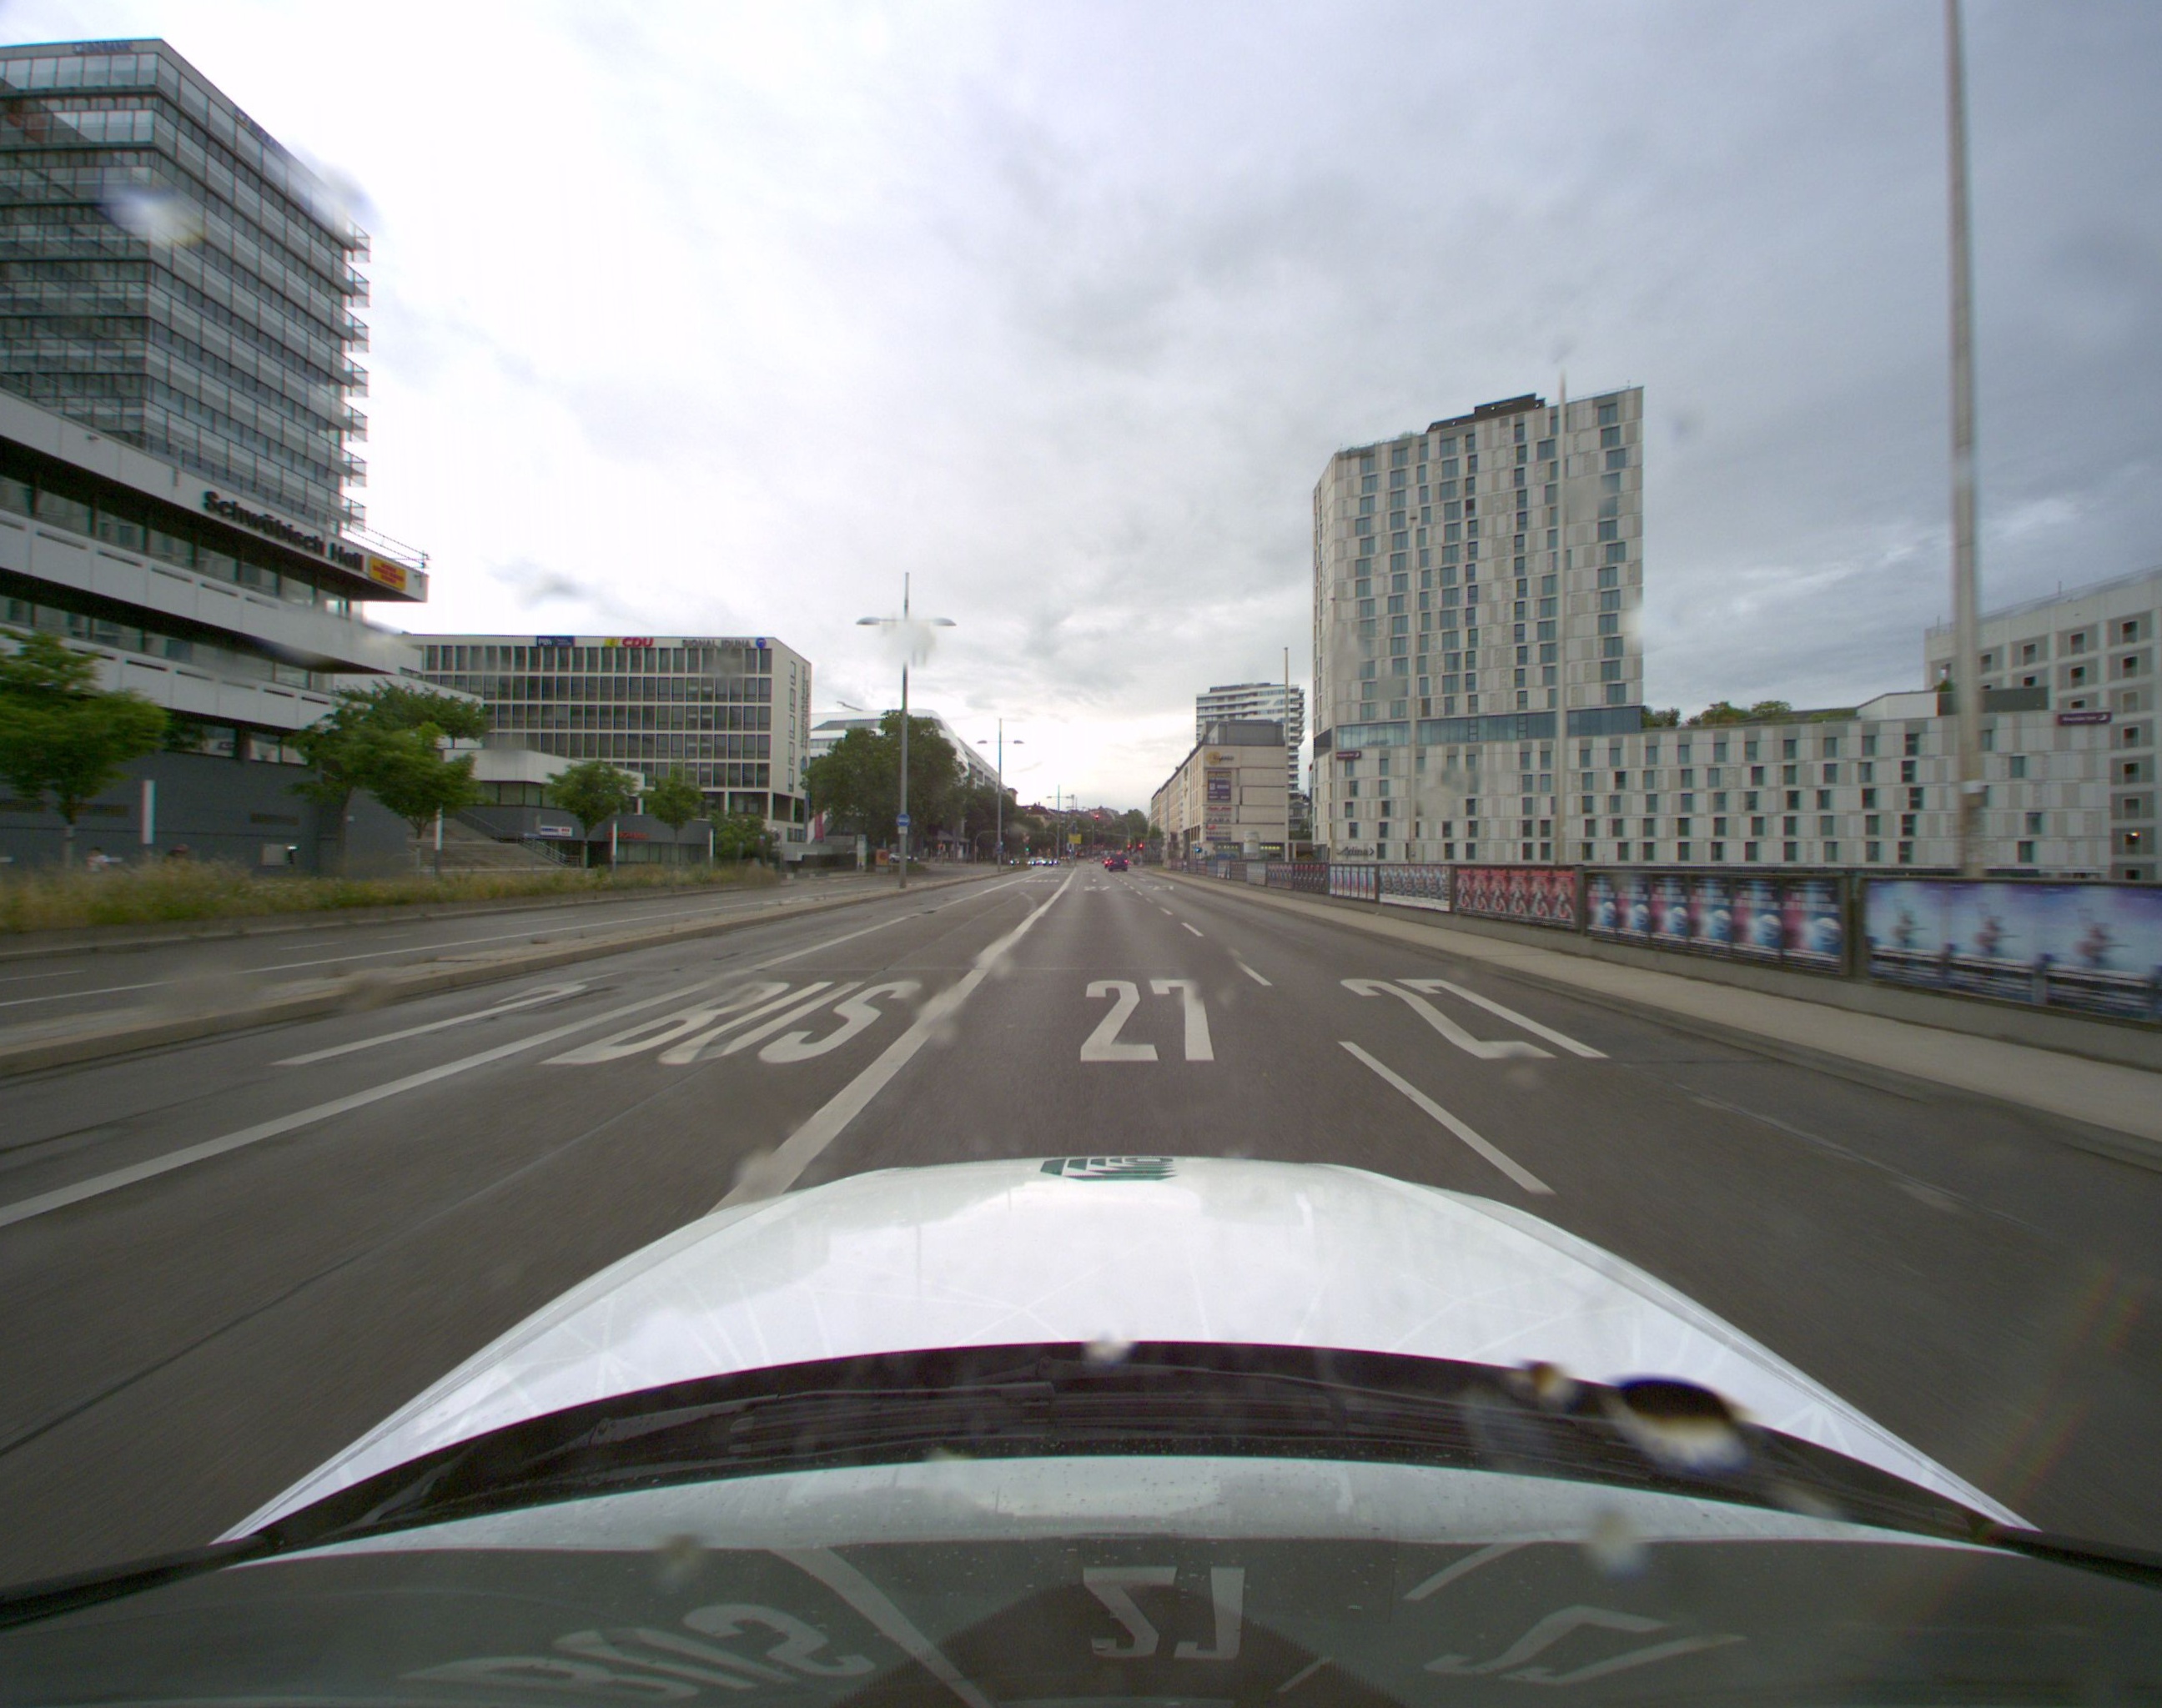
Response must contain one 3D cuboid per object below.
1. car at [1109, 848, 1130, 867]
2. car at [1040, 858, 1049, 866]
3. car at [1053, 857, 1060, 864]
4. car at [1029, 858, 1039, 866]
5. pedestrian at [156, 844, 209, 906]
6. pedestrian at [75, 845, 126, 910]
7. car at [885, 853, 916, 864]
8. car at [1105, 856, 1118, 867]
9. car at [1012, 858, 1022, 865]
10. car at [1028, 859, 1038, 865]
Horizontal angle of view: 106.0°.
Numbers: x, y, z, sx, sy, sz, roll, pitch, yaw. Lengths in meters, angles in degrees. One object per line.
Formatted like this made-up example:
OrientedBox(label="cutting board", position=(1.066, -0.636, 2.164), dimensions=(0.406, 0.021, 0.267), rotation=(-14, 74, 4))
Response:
OrientedBox(label="car", position=(4.097, 0.399, 88.158), dimensions=(2.026, 1.882, 5.043), rotation=(-3, 0, 1))
OrientedBox(label="car", position=(-7.103, 1.531, 158.641), dimensions=(1.737, 1.445, 3.394), rotation=(0, -1, 1))
OrientedBox(label="car", position=(-6.084, 1.598, 200.323), dimensions=(1.533, 1.478, 3.696), rotation=(0, -1, 1))
OrientedBox(label="car", position=(-9.672, 1.591, 166.740), dimensions=(1.737, 1.559, 3.539), rotation=(0, -1, 1))
OrientedBox(label="pedestrian", position=(-26.362, 0.615, 23.900), dimensions=(0.781, 1.808, 0.628), rotation=(0, -2, 1))
OrientedBox(label="pedestrian", position=(-27.919, 0.667, 23.205), dimensions=(0.627, 1.808, 0.628), rotation=(0, -2, 1))
OrientedBox(label="car", position=(-29.291, 0.778, 132.317), dimensions=(4.467, 1.631, 1.903), rotation=(-1, -2, 16))
OrientedBox(label="car", position=(4.167, 1.035, 112.472), dimensions=(1.734, 1.531, 3.814), rotation=(0, -1, 1))
OrientedBox(label="car", position=(-12.495, 1.536, 159.223), dimensions=(1.737, 1.328, 4.225), rotation=(0, -1, 1))
OrientedBox(label="car", position=(-9.453, 1.546, 159.763), dimensions=(1.737, 1.257, 3.540), rotation=(1, 0, 1))
